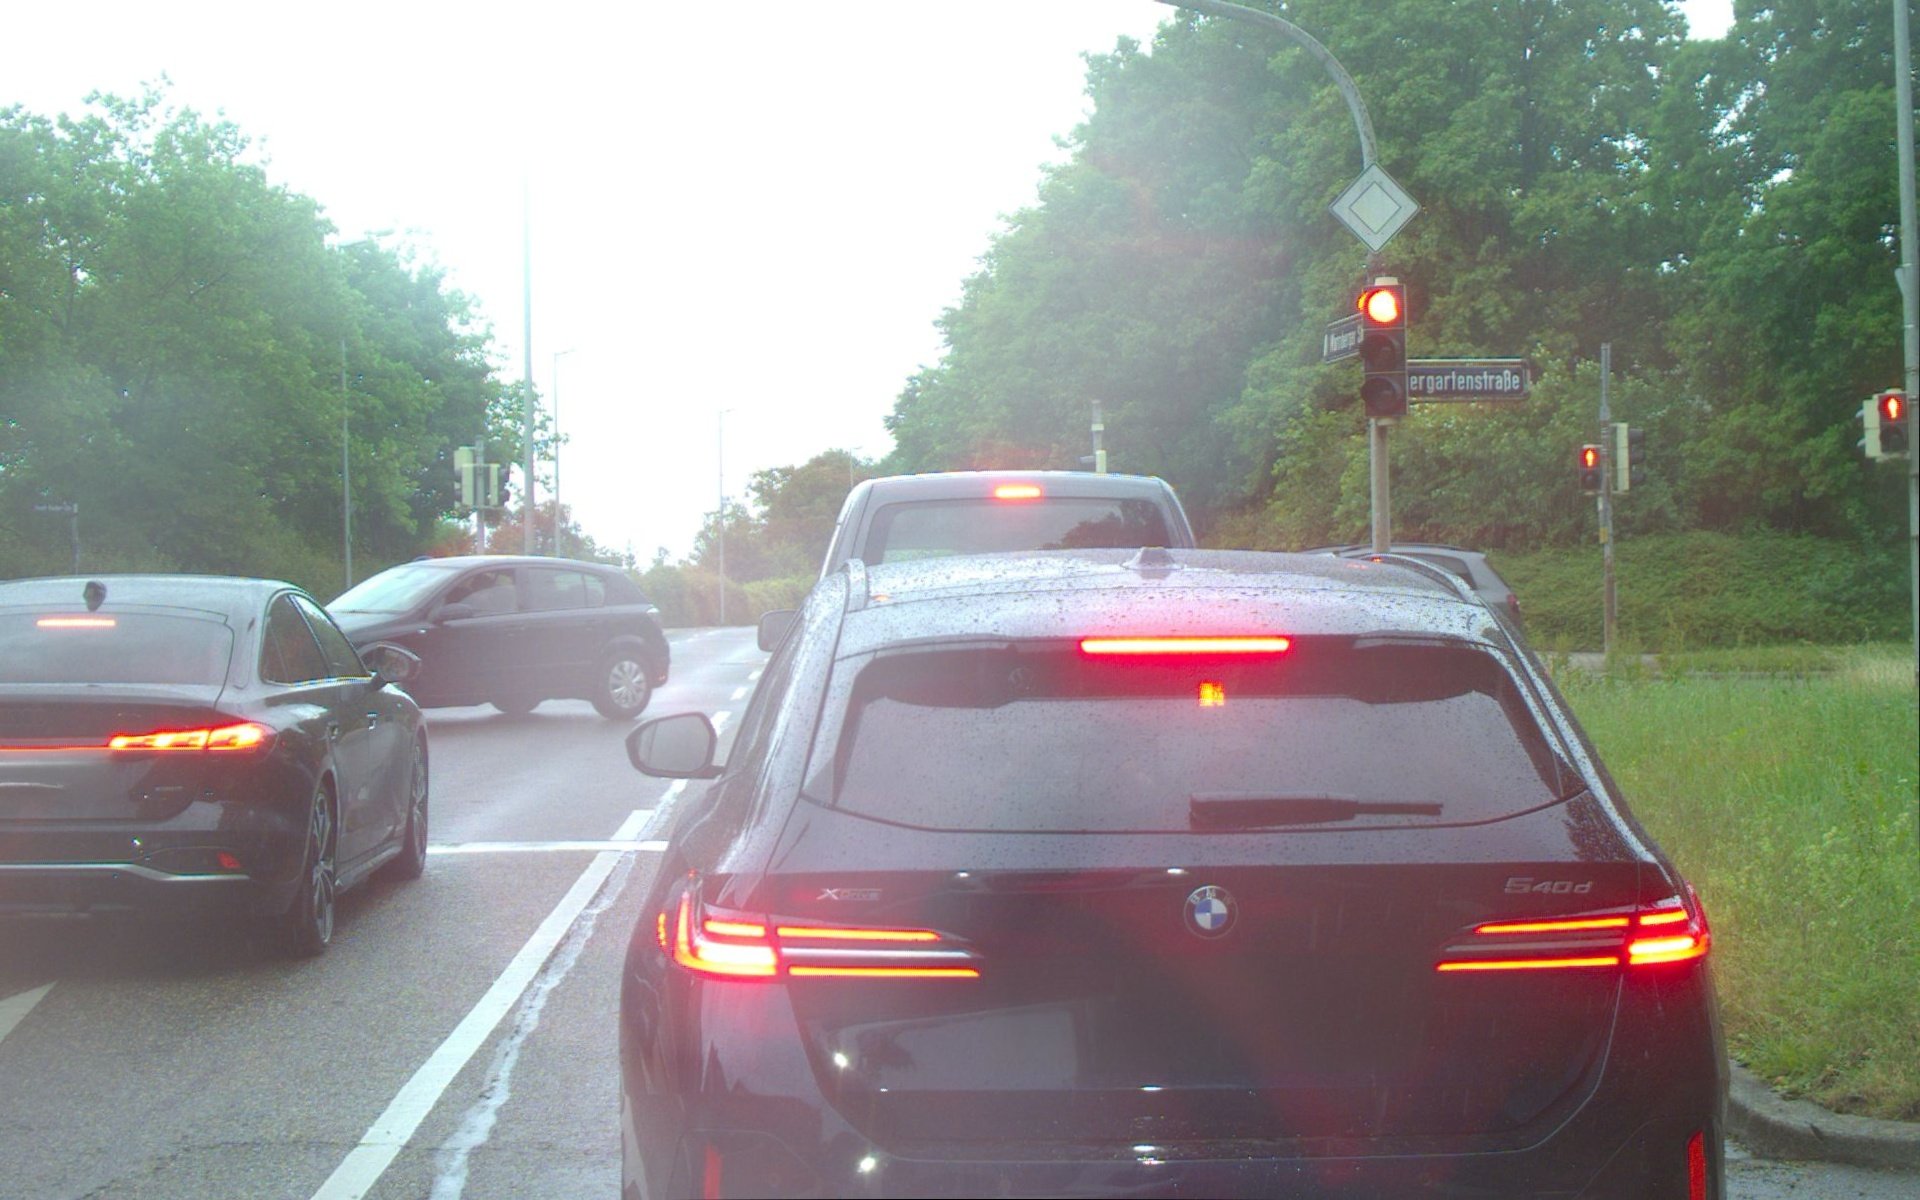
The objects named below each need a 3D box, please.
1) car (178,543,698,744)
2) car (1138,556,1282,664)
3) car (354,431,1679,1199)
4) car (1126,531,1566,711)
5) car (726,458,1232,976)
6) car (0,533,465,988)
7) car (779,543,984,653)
[{"bbox_3d":[-4.449,0.335,29.602,3.989,1.504,1.900,-3,1,-41],"label":"car"},{"bbox_3d":[3.841,0.130,53.424,1.873,1.537,3.952,-3,0,0],"label":"car"},{"bbox_3d":[0.189,0.536,7.235,1.898,1.546,4.614,0,0,3],"label":"car"},{"bbox_3d":[3.907,0.189,34.940,4.017,1.596,1.749,-3,1,-18],"label":"car"},{"bbox_3d":[0.063,0.406,14.355,1.818,1.862,3.952,0,0,0],"label":"car"},{"bbox_3d":[-3.352,0.559,14.000,1.993,1.522,4.328,-3,0,0],"label":"car"},{"bbox_3d":[-1.151,-0.015,48.527,1.697,1.422,3.514,-3,0,-22],"label":"car"}]
